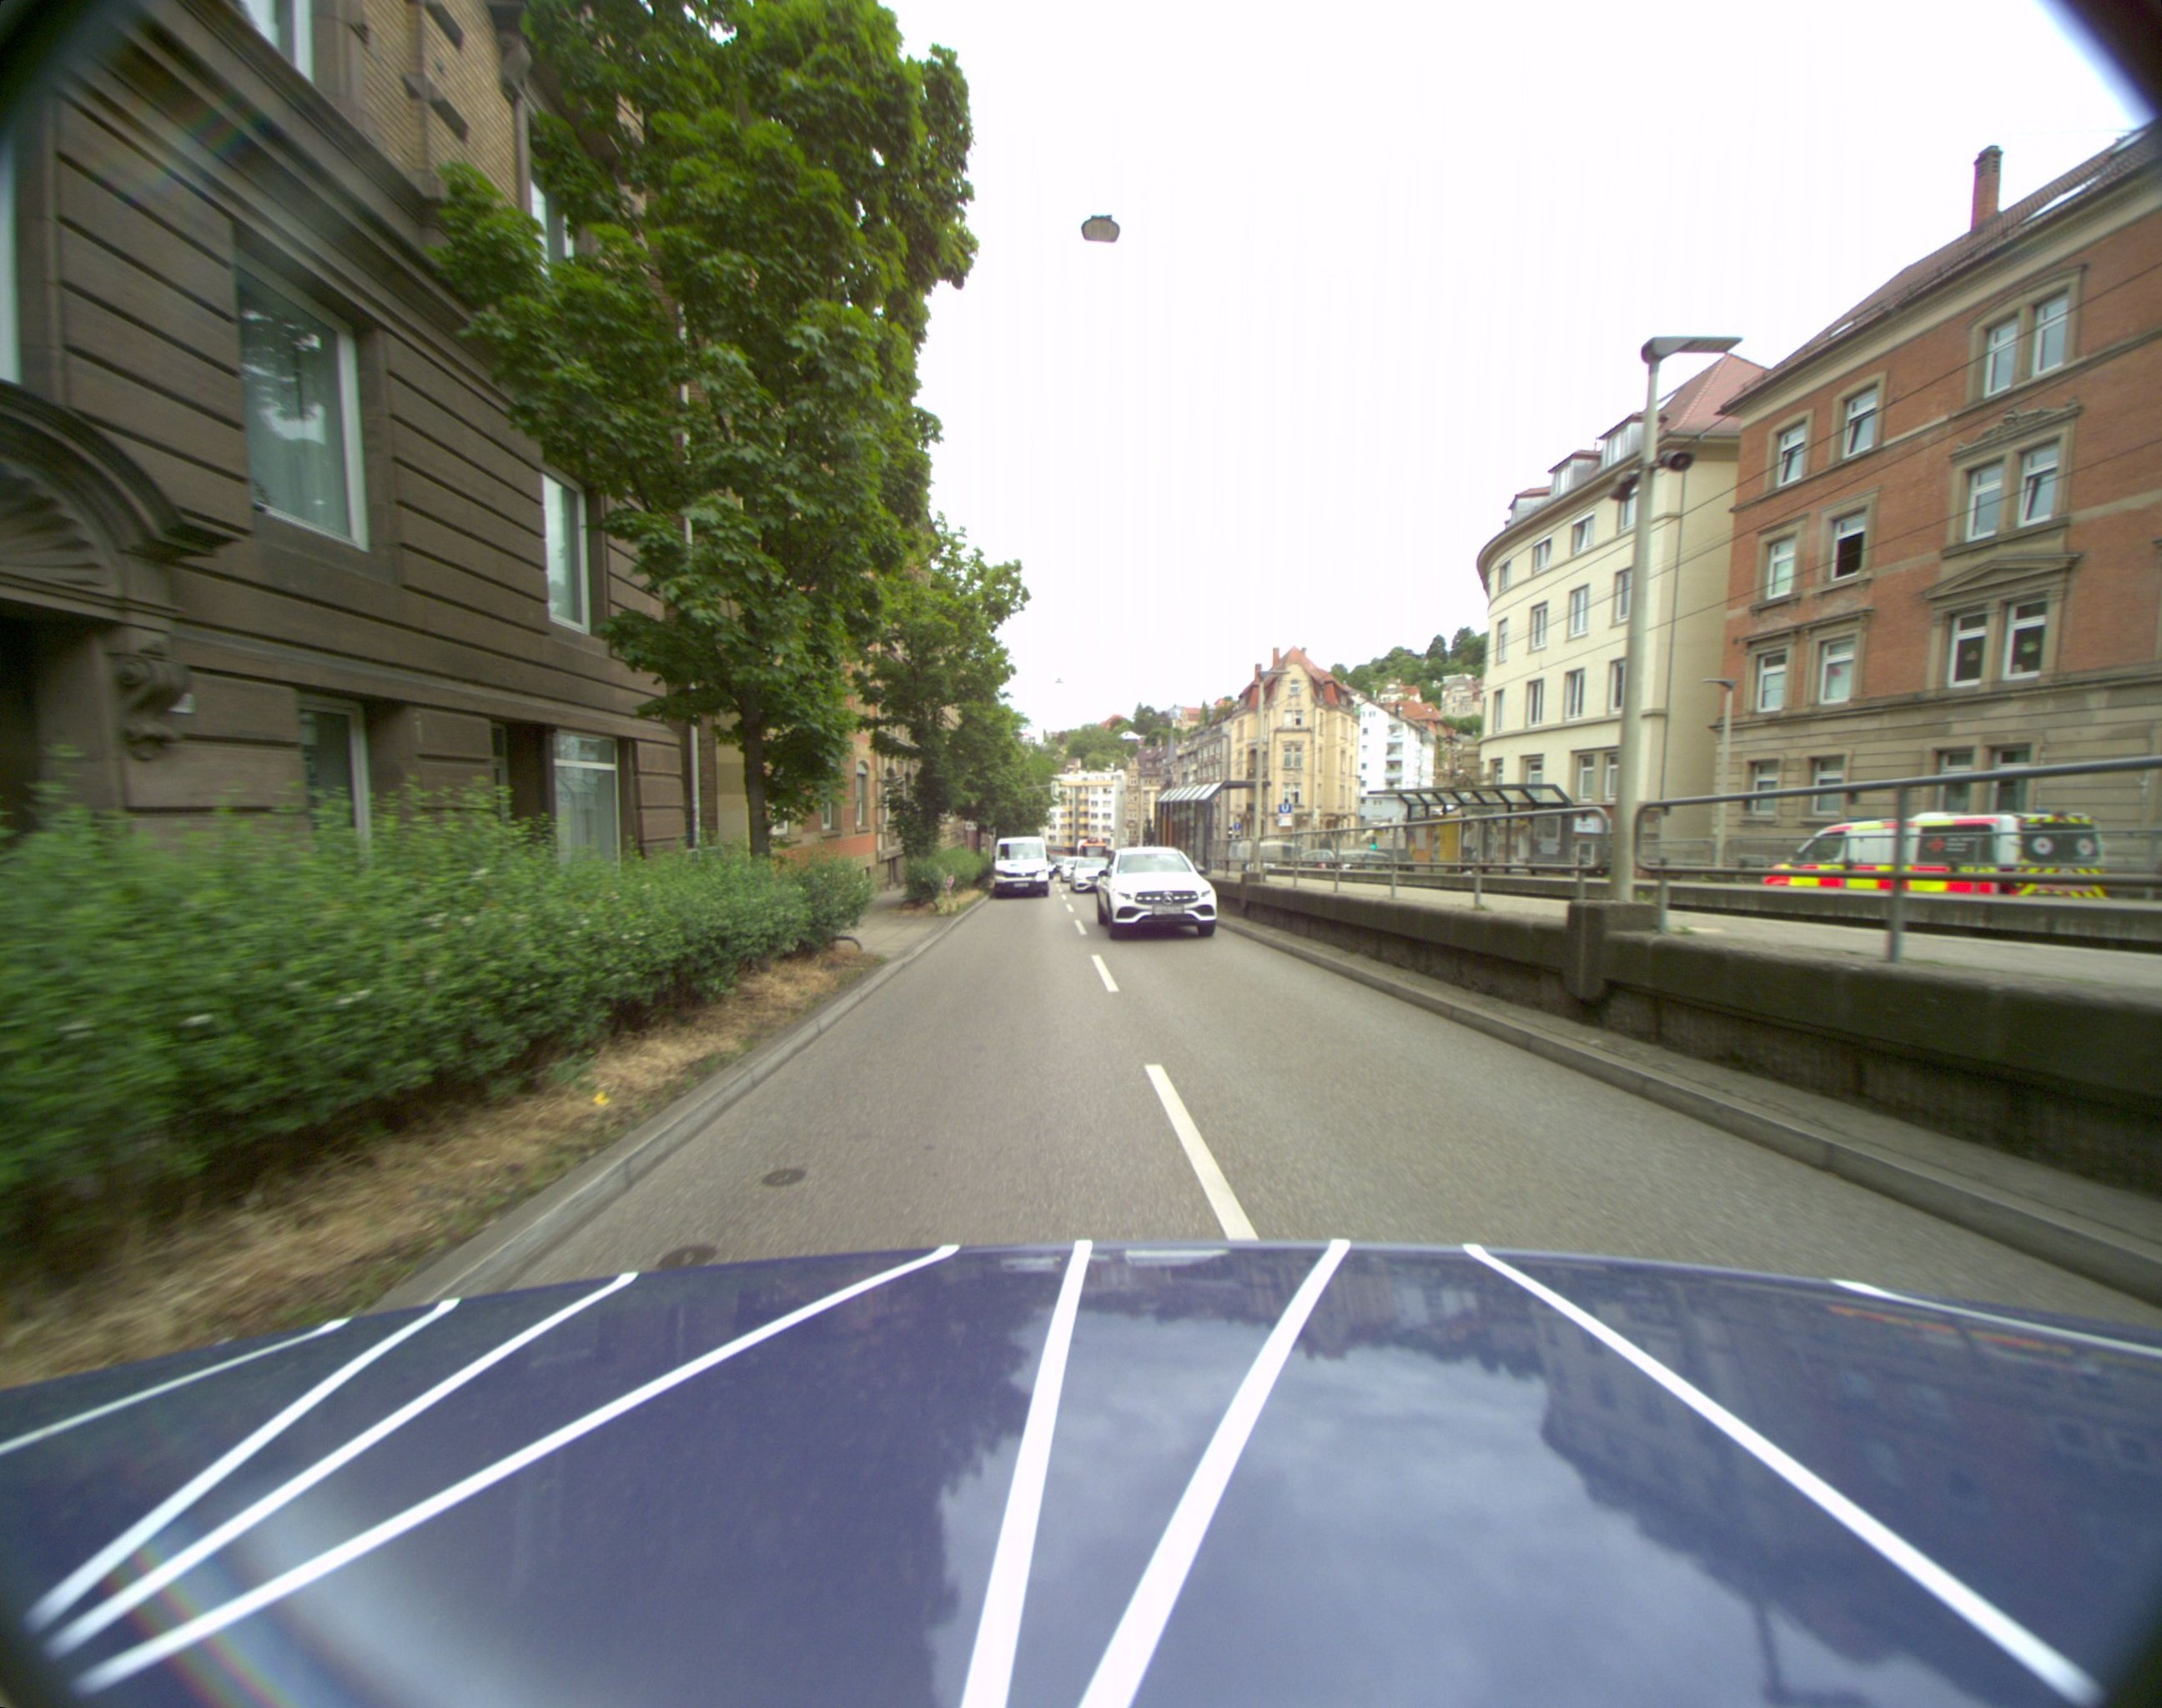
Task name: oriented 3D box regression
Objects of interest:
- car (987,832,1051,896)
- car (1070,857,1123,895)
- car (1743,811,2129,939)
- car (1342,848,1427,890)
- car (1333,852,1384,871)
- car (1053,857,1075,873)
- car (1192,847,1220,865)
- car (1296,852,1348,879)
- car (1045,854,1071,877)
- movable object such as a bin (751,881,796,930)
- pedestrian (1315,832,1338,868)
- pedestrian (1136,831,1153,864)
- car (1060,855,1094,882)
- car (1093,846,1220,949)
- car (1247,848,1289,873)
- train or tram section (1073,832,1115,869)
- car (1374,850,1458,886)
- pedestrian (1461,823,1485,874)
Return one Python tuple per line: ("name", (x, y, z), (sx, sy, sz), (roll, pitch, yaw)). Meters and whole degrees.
("car", (-2.403, 0.369, 30.470), (2.264, 2.274, 5.965), (-1, 0, -3))
("car", (0.540, 0.824, 30.567), (1.806, 1.391, 3.999), (-1, 0, -3))
("car", (17.715, 0.359, 16.355), (1.999, 2.291, 5.453), (0, 0, -3))
("car", (14.254, 0.646, 35.981), (1.999, 1.884, 4.413), (0, 0, -4))
("car", (24.450, 0.652, 67.014), (4.005, 1.700, 1.996), (0, 0, -26))
("car", (-1.508, 0.919, 65.187), (1.563, 1.330, 3.997), (0, 0, -7))
("car", (12.368, 0.196, 75.616), (1.851, 1.723, 4.379), (0, 0, -3))
("car", (16.097, 0.733, 50.987), (1.851, 1.723, 4.379), (0, 0, -3))
("car", (-1.581, 0.776, 51.670), (1.695, 1.466, 3.855), (0, 0, -3))
("movable object such as a bin", (-6.132, 1.013, 15.161), (0.672, 0.937, 0.539), (0, 1, 1))
("pedestrian", (11.723, -0.182, 36.295), (0.767, 1.678, 0.843), (0, 0, -2))
("pedestrian", (3.352, -0.328, 40.111), (0.767, 1.705, 0.766), (0, 0, -2))
("car", (-0.279, 0.817, 44.787), (1.806, 1.542, 3.999), (-1, 0, -3))
("car", (1.303, 0.699, 15.030), (1.840, 1.657, 4.669), (-2, 1, -2))
("car", (13.463, 0.448, 54.887), (1.828, 1.754, 3.862), (0, 0, -4))
("train or tram section", (1.097, -0.303, 77.977), (2.969, 3.456, 14.402), (0, 0, -4))
("car", (16.208, 0.638, 37.029), (1.867, 1.636, 4.413), (0, 0, -4))
("pedestrian", (12.249, -0.174, 23.753), (0.463, 1.553, 0.540), (0, 1, -3))
